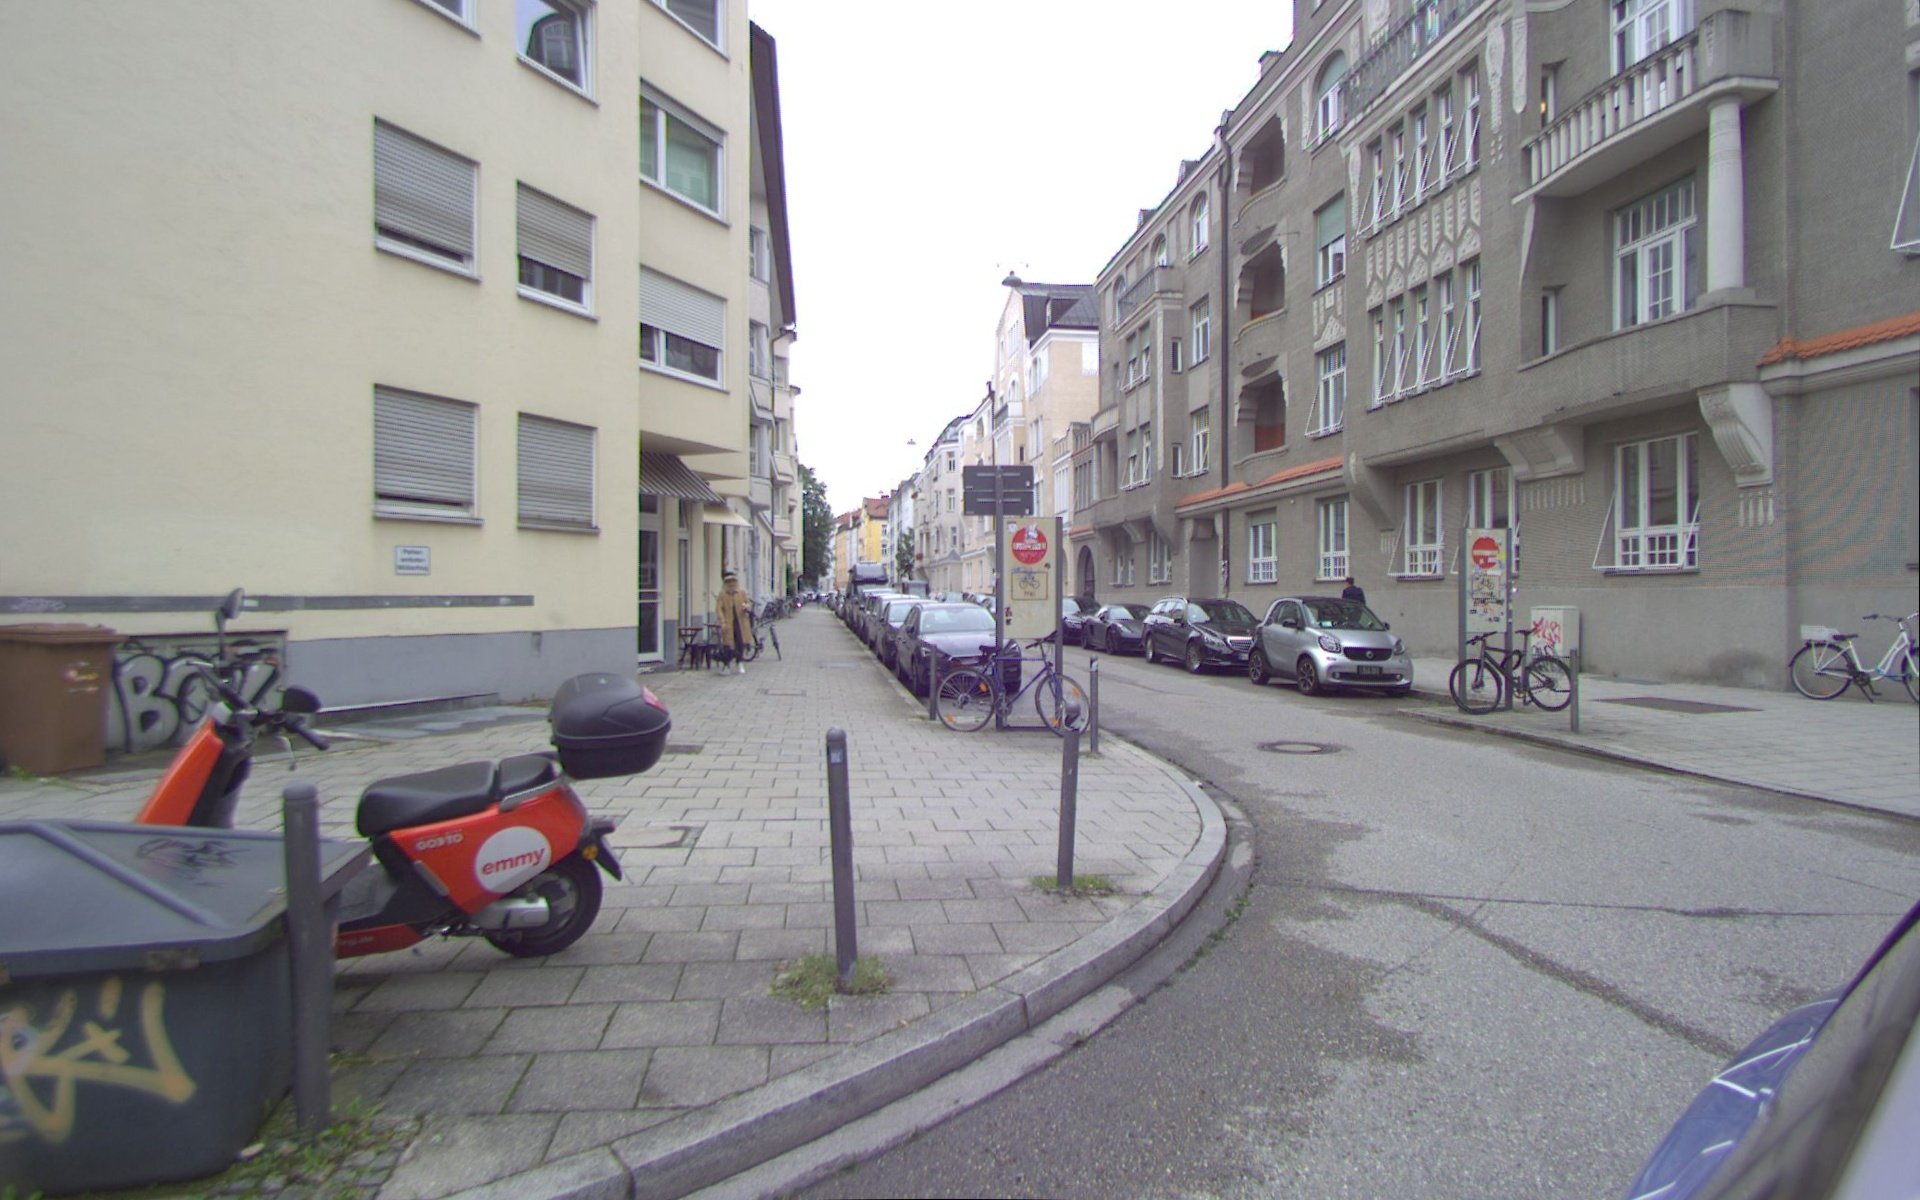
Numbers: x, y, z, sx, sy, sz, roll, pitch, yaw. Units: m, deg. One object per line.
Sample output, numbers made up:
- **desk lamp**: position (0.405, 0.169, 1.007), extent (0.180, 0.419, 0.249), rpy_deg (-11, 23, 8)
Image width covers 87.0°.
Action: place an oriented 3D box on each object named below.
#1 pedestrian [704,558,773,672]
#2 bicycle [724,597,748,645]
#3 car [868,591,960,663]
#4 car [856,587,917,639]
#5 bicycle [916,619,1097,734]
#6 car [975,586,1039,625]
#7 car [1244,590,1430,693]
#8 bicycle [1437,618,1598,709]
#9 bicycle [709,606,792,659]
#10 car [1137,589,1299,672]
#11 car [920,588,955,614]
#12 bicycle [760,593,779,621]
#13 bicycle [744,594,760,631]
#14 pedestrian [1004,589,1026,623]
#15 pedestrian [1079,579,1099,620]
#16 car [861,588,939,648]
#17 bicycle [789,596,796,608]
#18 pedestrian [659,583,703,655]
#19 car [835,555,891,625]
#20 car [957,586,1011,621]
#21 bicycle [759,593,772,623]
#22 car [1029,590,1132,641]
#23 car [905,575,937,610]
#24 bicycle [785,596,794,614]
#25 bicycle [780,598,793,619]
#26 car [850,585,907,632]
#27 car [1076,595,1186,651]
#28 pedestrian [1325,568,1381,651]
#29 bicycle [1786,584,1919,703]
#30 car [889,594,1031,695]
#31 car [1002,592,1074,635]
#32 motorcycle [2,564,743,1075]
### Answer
- **pedestrian**: position (-3.797, 0.262, 17.323), extent (0.728, 1.871, 1.016), rpy_deg (4, -3, -36)
- **bicycle**: position (-5.908, 0.532, 26.632), extent (0.553, 1.208, 1.680), rpy_deg (2, 0, -13)
- **car**: position (-1.134, 0.546, 23.364), extent (1.605, 1.490, 3.862), rpy_deg (-1, 1, -10)
- **car**: position (-2.520, 0.393, 34.031), extent (1.605, 1.612, 3.975), rpy_deg (-1, 1, -11)
- **bicycle**: position (0.486, 0.766, 10.591), extent (1.774, 1.099, 0.661), rpy_deg (1, -1, 20)
- **car**: position (1.928, 0.189, 42.991), extent (1.805, 1.532, 4.615), rpy_deg (-1, 1, -9)
- **car**: position (6.071, 0.615, 16.641), extent (1.675, 1.534, 2.915), rpy_deg (1, 0, -7)
- **bicycle**: position (6.944, 0.777, 12.627), extent (1.771, 1.028, 0.541), rpy_deg (-2, 0, -9)
- **bicycle**: position (-4.368, 0.655, 21.204), extent (0.746, 1.045, 1.782), rpy_deg (1, 0, 27)
- **car**: position (5.245, 0.546, 21.252), extent (1.725, 1.534, 4.713), rpy_deg (0, 0, -6)
- **car**: position (-1.575, 0.035, 68.971), extent (1.840, 1.669, 4.467), rpy_deg (-1, 1, -8)
- **bicycle**: position (-8.224, 0.270, 43.663), extent (0.474, 1.165, 1.788), rpy_deg (-1, 1, 0)
- **bicycle**: position (-6.815, 0.399, 33.233), extent (0.473, 1.165, 1.791), rpy_deg (-1, 1, -11)
- **pedestrian**: position (2.866, 0.283, 53.011), extent (0.975, 1.750, 0.941), rpy_deg (-1, 0, -8)
- **pedestrian**: position (5.823, -0.018, 45.810), extent (0.704, 1.840, 0.732), rpy_deg (-1, 0, -9)
- **car**: position (-1.760, 0.450, 28.625), extent (1.605, 1.556, 3.862), rpy_deg (-1, 1, -12)
- **bicycle**: position (-13.001, 0.149, 78.644), extent (0.529, 0.970, 1.821), rpy_deg (-1, 1, -10)
- **pedestrian**: position (-5.553, 0.369, 20.135), extent (0.527, 1.416, 0.668), rpy_deg (-1, 0, 25)
- **car**: position (-4.662, -0.521, 47.749), extent (2.215, 2.996, 6.143), rpy_deg (-2, 2, -9)
- **car**: position (1.129, 0.138, 49.144), extent (1.771, 1.592, 3.821), rpy_deg (-1, 1, -12)
- **bicycle**: position (-7.929, 0.325, 41.278), extent (0.473, 1.165, 1.791), rpy_deg (2, 0, -11)
- **car**: position (3.689, 0.430, 31.941), extent (1.959, 1.466, 4.787), rpy_deg (0, 1, -10)
- **car**: position (-3.200, -0.612, 81.836), extent (2.063, 2.654, 5.686), rpy_deg (1, 0, -7)
- **bicycle**: position (-10.893, 0.315, 64.591), extent (0.484, 1.131, 1.971), rpy_deg (-1, 1, -8)
- **bicycle**: position (-9.753, 0.494, 56.877), extent (0.630, 1.131, 1.970), rpy_deg (-1, 1, -8)
- **car**: position (-3.279, 0.305, 39.997), extent (1.959, 1.710, 4.680), rpy_deg (-2, 1, -8)
- **car**: position (4.411, 0.553, 26.732), extent (1.725, 1.348, 4.102), rpy_deg (0, 0, -7)
- **pedestrian**: position (8.779, 0.201, 22.632), extent (0.825, 1.810, 0.937), rpy_deg (-1, 0, -5)
- **bicycle**: position (11.238, 0.497, 12.425), extent (0.607, 1.366, 1.678), rpy_deg (-1, 0, -12)
- **car**: position (-0.148, 0.661, 17.739), extent (1.663, 1.490, 4.619), rpy_deg (-1, 1, -10)
- **car**: position (2.812, 0.453, 37.509), extent (1.775, 1.449, 4.445), rpy_deg (1, 0, -7)
- **motorcycle**: position (-1.900, 0.595, 3.605), extent (2.043, 1.373, 0.818), rpy_deg (1, -1, -31)
